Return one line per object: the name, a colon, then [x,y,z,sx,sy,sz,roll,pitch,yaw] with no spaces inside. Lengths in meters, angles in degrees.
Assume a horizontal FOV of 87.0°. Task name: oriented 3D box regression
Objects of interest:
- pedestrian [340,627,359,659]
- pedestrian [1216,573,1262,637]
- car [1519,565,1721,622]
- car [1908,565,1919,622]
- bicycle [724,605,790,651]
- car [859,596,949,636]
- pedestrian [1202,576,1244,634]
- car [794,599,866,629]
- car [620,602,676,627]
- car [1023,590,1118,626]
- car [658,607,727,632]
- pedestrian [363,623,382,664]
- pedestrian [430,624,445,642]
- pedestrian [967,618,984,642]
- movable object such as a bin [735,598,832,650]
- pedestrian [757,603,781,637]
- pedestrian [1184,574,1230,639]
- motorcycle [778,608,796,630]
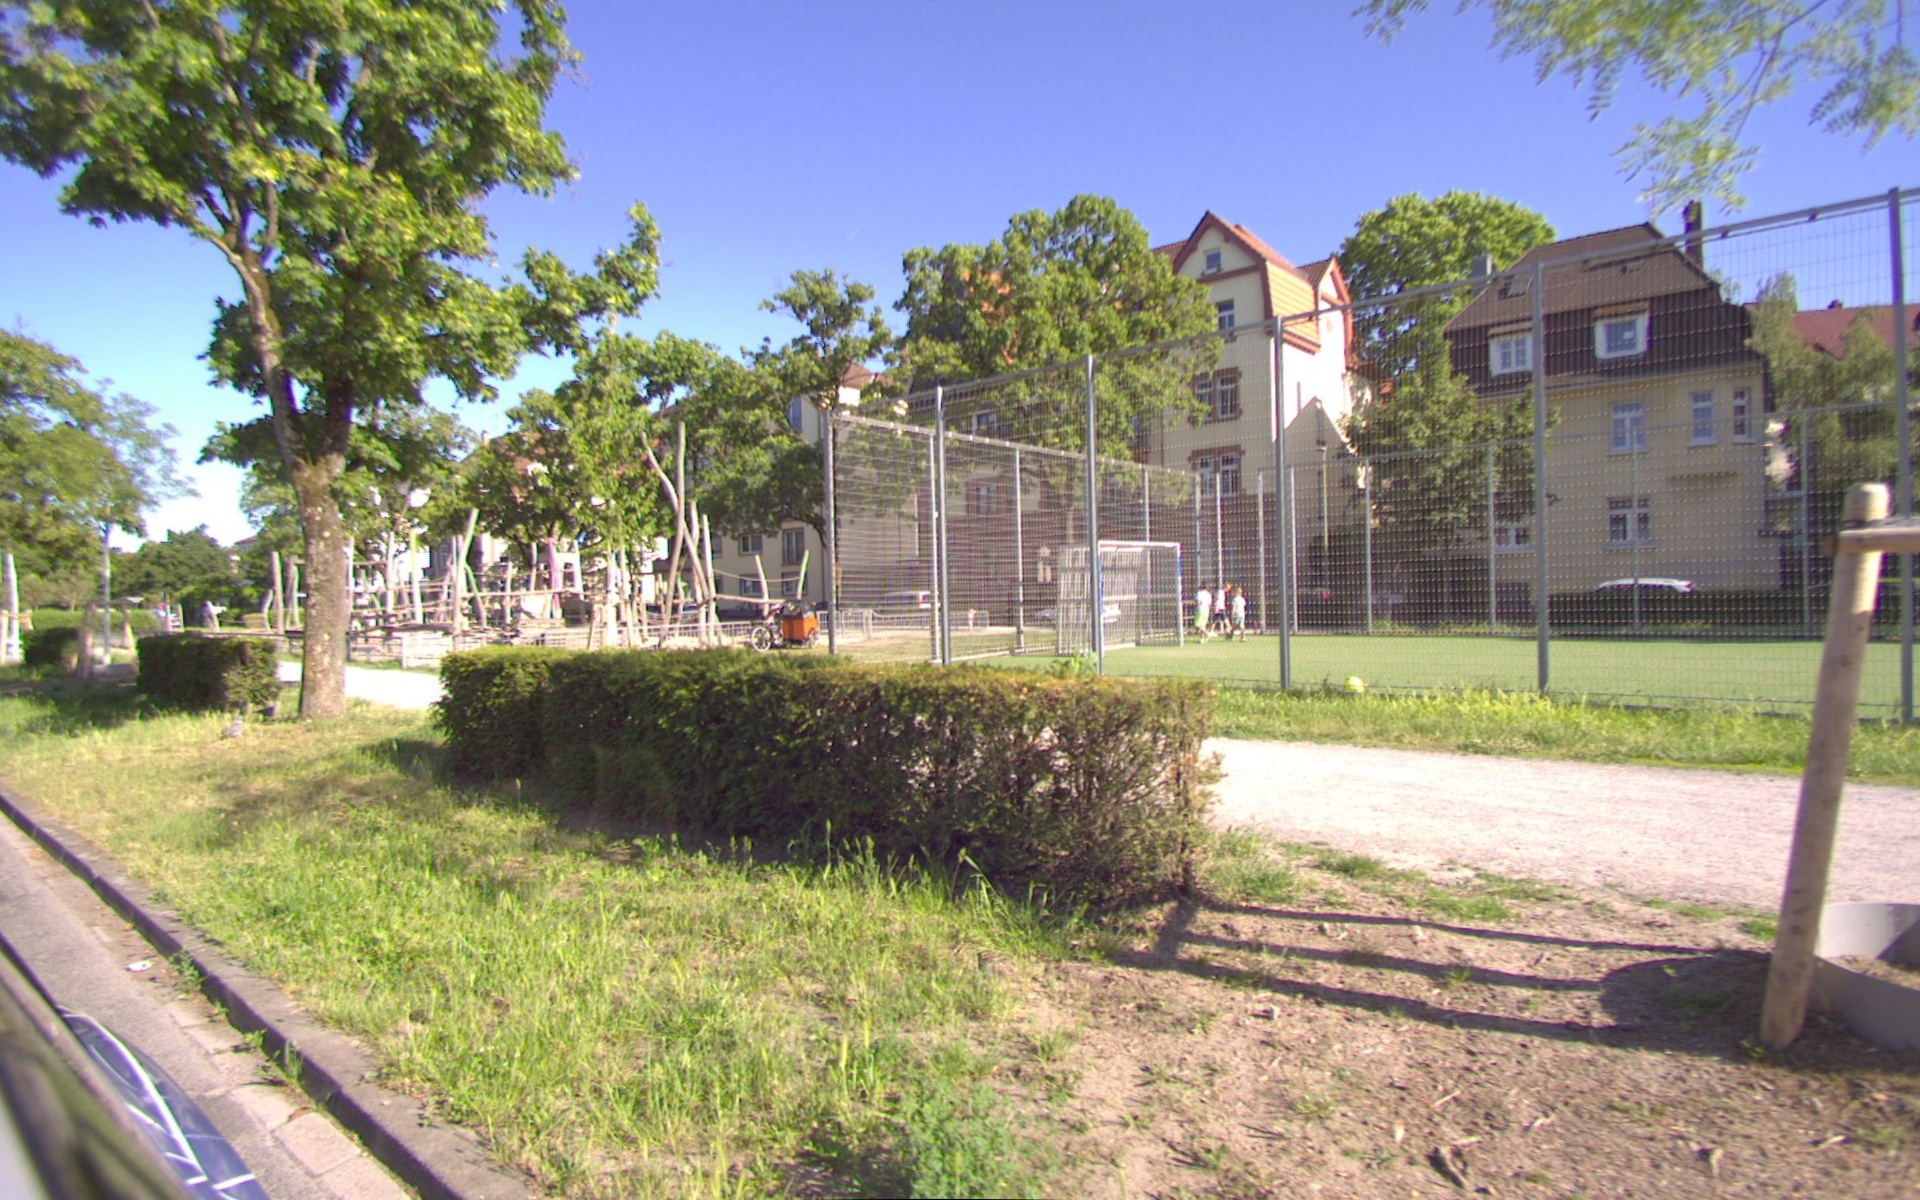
pedestrian: [-25.927,1.816,42.967,0.639,1.339,0.652,-2,0,-31]
pedestrian: [5.956,0.104,21.624,0.639,1.328,0.652,-2,0,-20]
car: [21.023,-0.181,32.379,5.180,1.664,1.862,-2,1,41]
car: [27.961,-0.243,26.682,4.229,1.521,1.776,-2,1,41]
bicycle: [-5.371,0.730,26.804,0.499,1.116,1.777,-2,0,39]
car: [-2.965,0.843,53.124,4.833,1.997,1.776,-2,1,41]
pedestrian: [6.153,0.112,23.680,0.639,1.328,0.652,-2,0,-20]
car: [-7.295,0.792,56.591,3.998,1.521,1.776,-2,1,41]
car: [-21.248,1.010,68.936,3.997,1.566,1.776,-2,1,41]
car: [5.052,0.390,46.408,3.998,1.521,1.776,-2,1,41]
car: [-17.321,1.259,65.529,4.760,1.521,1.887,-2,1,40]
pedestrian: [-24.449,1.794,42.100,0.639,1.674,0.652,-2,0,-31]
pedestrian: [-28.557,1.795,55.313,0.535,0.986,0.779,-2,0,-42]
pedestrian: [0.538,1.024,34.754,0.359,0.810,0.478,-2,0,42]
movable object such as a bin: [-4.457,0.599,25.722,1.054,1.251,2.309,-2,-1,36]
pedestrian: [-7.687,0.803,40.654,0.649,1.328,0.642,-2,0,38]
pedestrian: [5.200,0.125,21.331,0.639,1.328,0.652,-2,0,-20]
motorcycle: [-6.939,0.761,40.594,0.283,0.833,0.695,-2,0,39]
